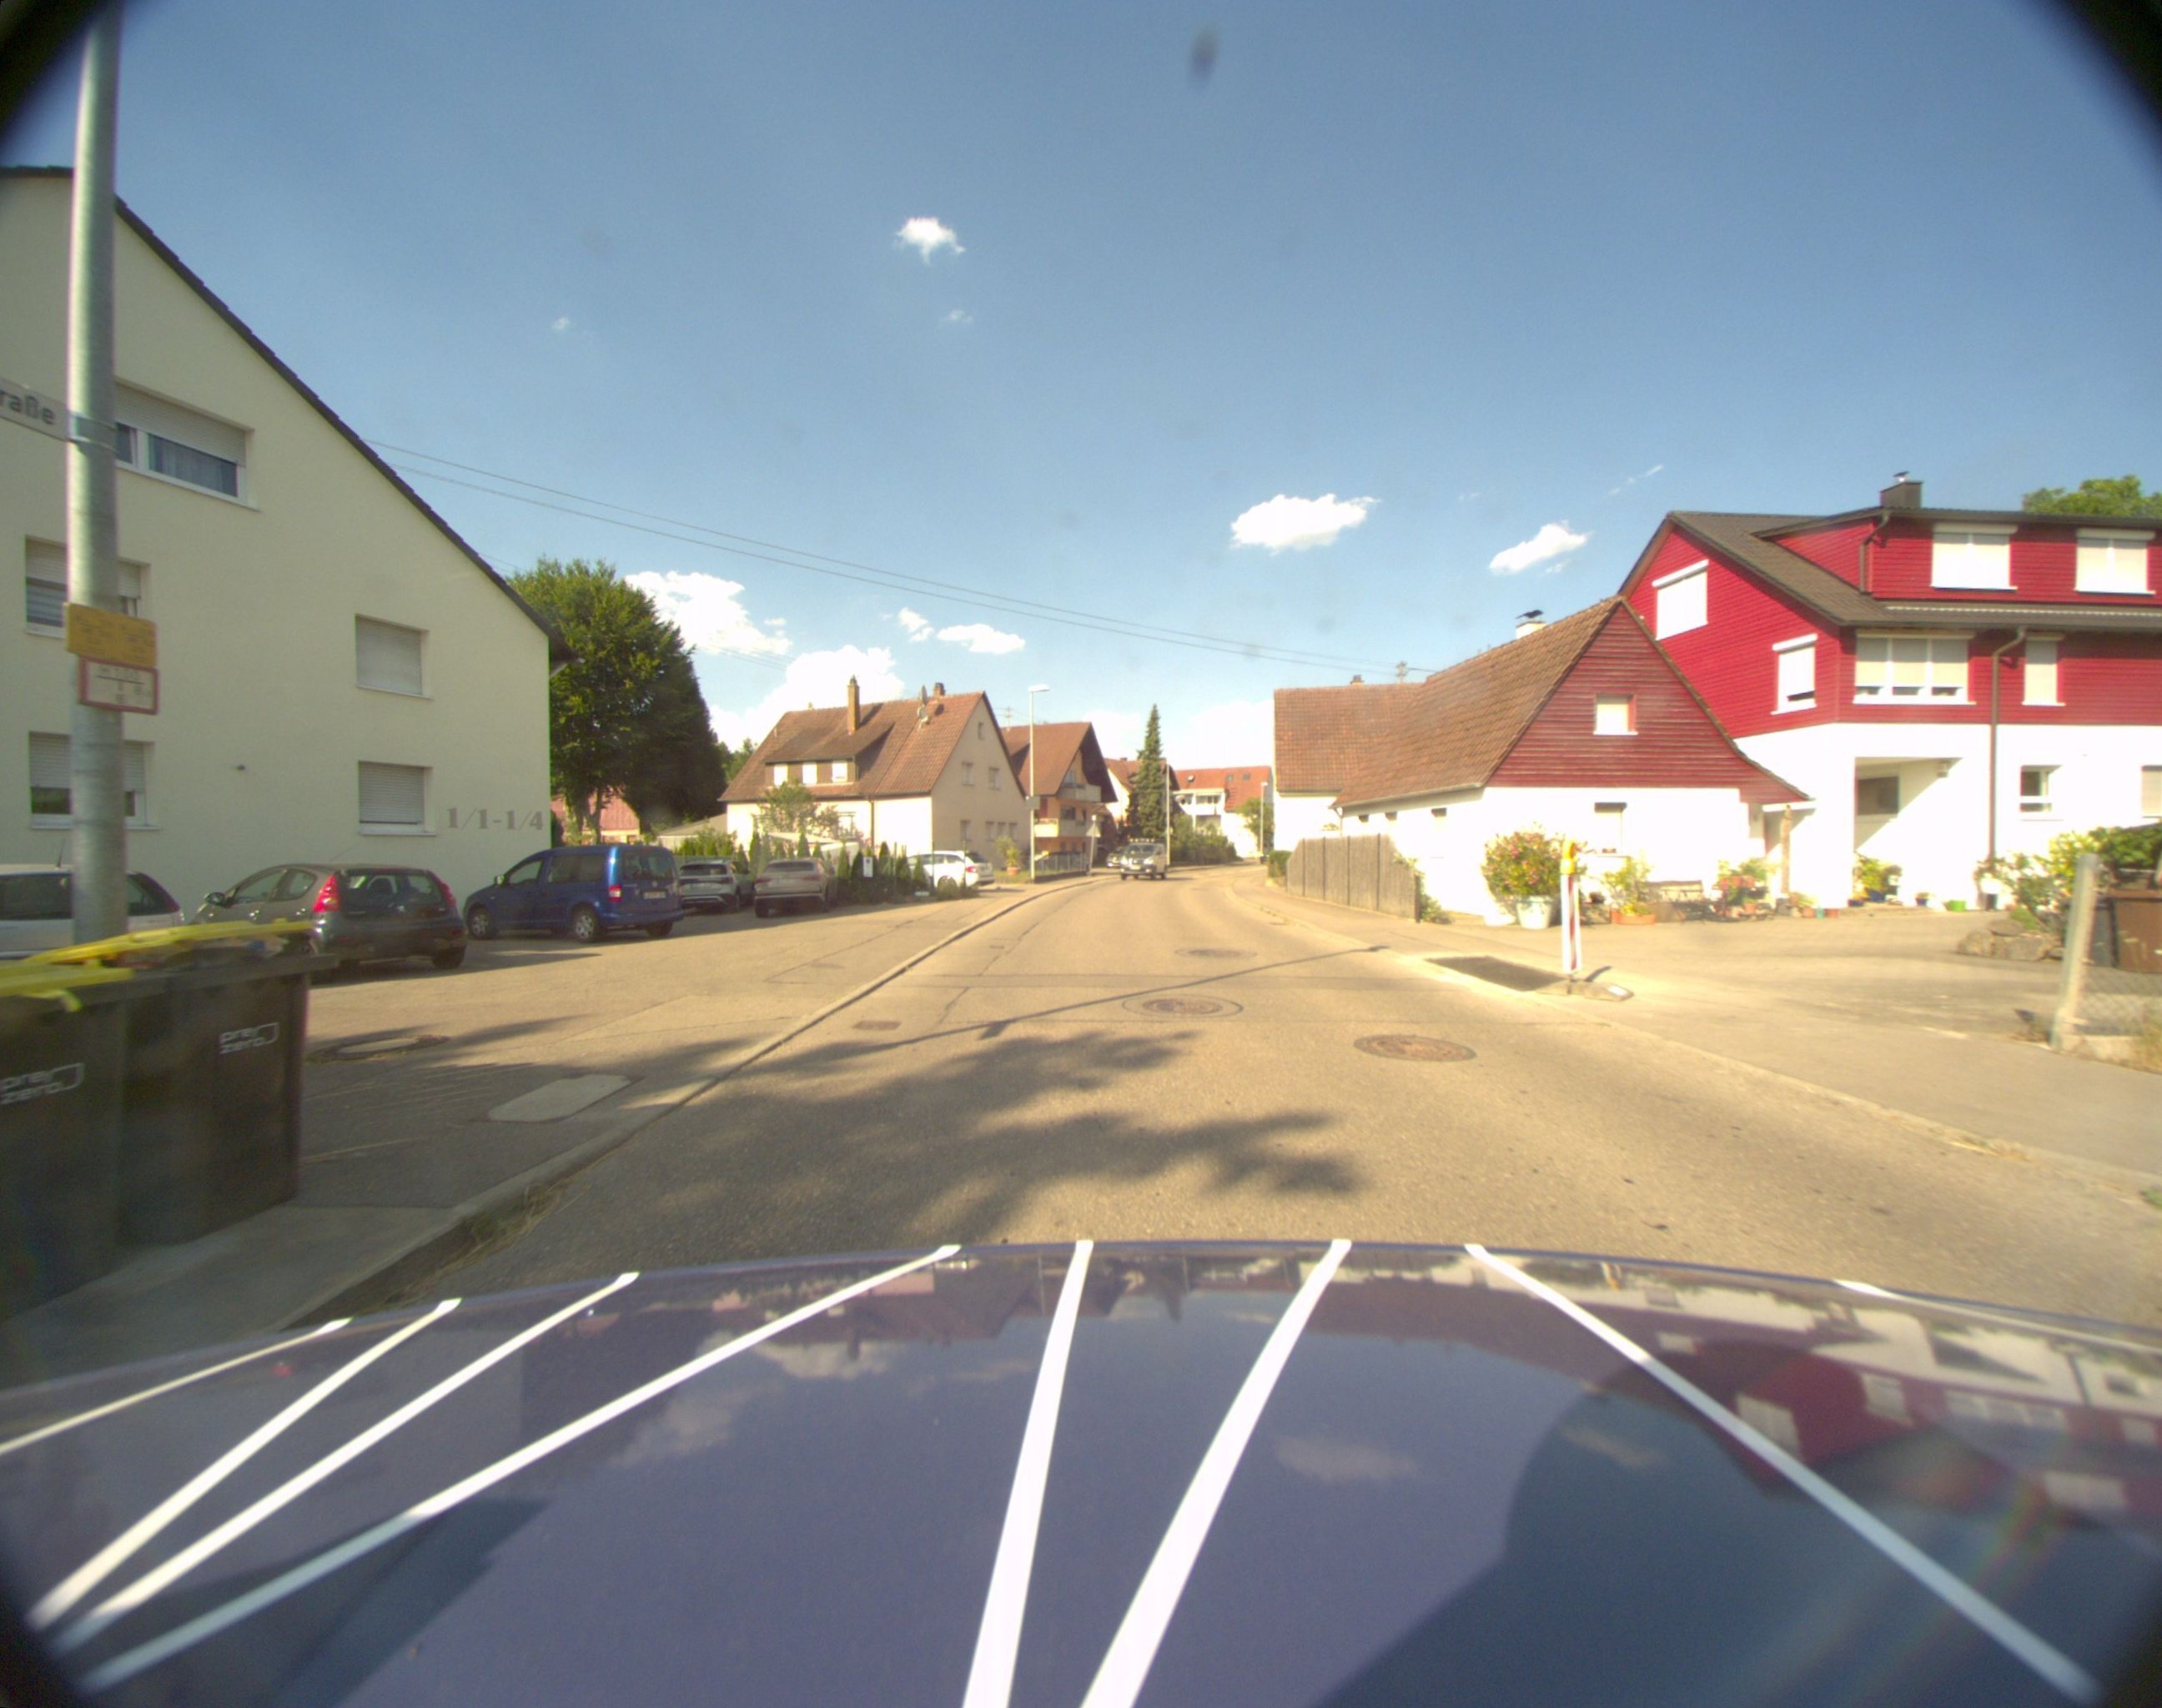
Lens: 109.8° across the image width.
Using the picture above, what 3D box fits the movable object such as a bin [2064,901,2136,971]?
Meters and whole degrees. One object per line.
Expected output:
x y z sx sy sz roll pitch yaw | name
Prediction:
13.256 1.057 9.893 0.464 0.877 0.371 0 0 -4 | movable object such as a bin

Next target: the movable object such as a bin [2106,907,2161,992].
13.286 1.167 9.380 0.548 0.984 0.550 0 0 -4 | movable object such as a bin

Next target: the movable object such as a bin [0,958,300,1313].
-3.470 1.000 2.858 0.480 1.136 0.538 0 1 0 | movable object such as a bin

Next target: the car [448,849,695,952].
-9.966 0.822 14.901 4.205 1.777 1.769 0 2 19 | car

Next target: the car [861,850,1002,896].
-5.102 0.594 25.991 4.468 1.450 1.733 0 2 20 | car

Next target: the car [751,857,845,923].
-7.937 0.928 21.667 1.700 1.511 4.272 -3 2 -10 | car

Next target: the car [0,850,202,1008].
-11.214 0.690 7.935 3.130 1.442 1.579 0 0 19 | car

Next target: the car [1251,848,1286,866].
19.191 0.288 77.728 1.968 1.647 4.008 3 2 39 | car

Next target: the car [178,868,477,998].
-9.985 0.936 10.104 3.211 1.442 1.652 0 0 21 | car

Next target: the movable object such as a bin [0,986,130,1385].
-3.468 1.017 2.293 0.480 1.136 0.538 0 1 0 | movable object such as a bin

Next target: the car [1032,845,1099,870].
-0.937 0.213 45.185 3.690 1.427 1.439 0 0 27 | car

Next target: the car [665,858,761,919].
-10.973 0.967 22.929 1.766 1.536 3.672 -2 2 -13 | car

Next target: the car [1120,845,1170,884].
3.546 0.506 41.293 1.817 1.988 4.826 0 0 15 | car

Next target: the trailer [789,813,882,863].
-9.055 -0.563 28.213 1.521 1.742 3.222 0 1 23 | trailer

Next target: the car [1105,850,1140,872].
3.108 0.490 56.091 1.644 1.508 3.805 0 2 18 | car
